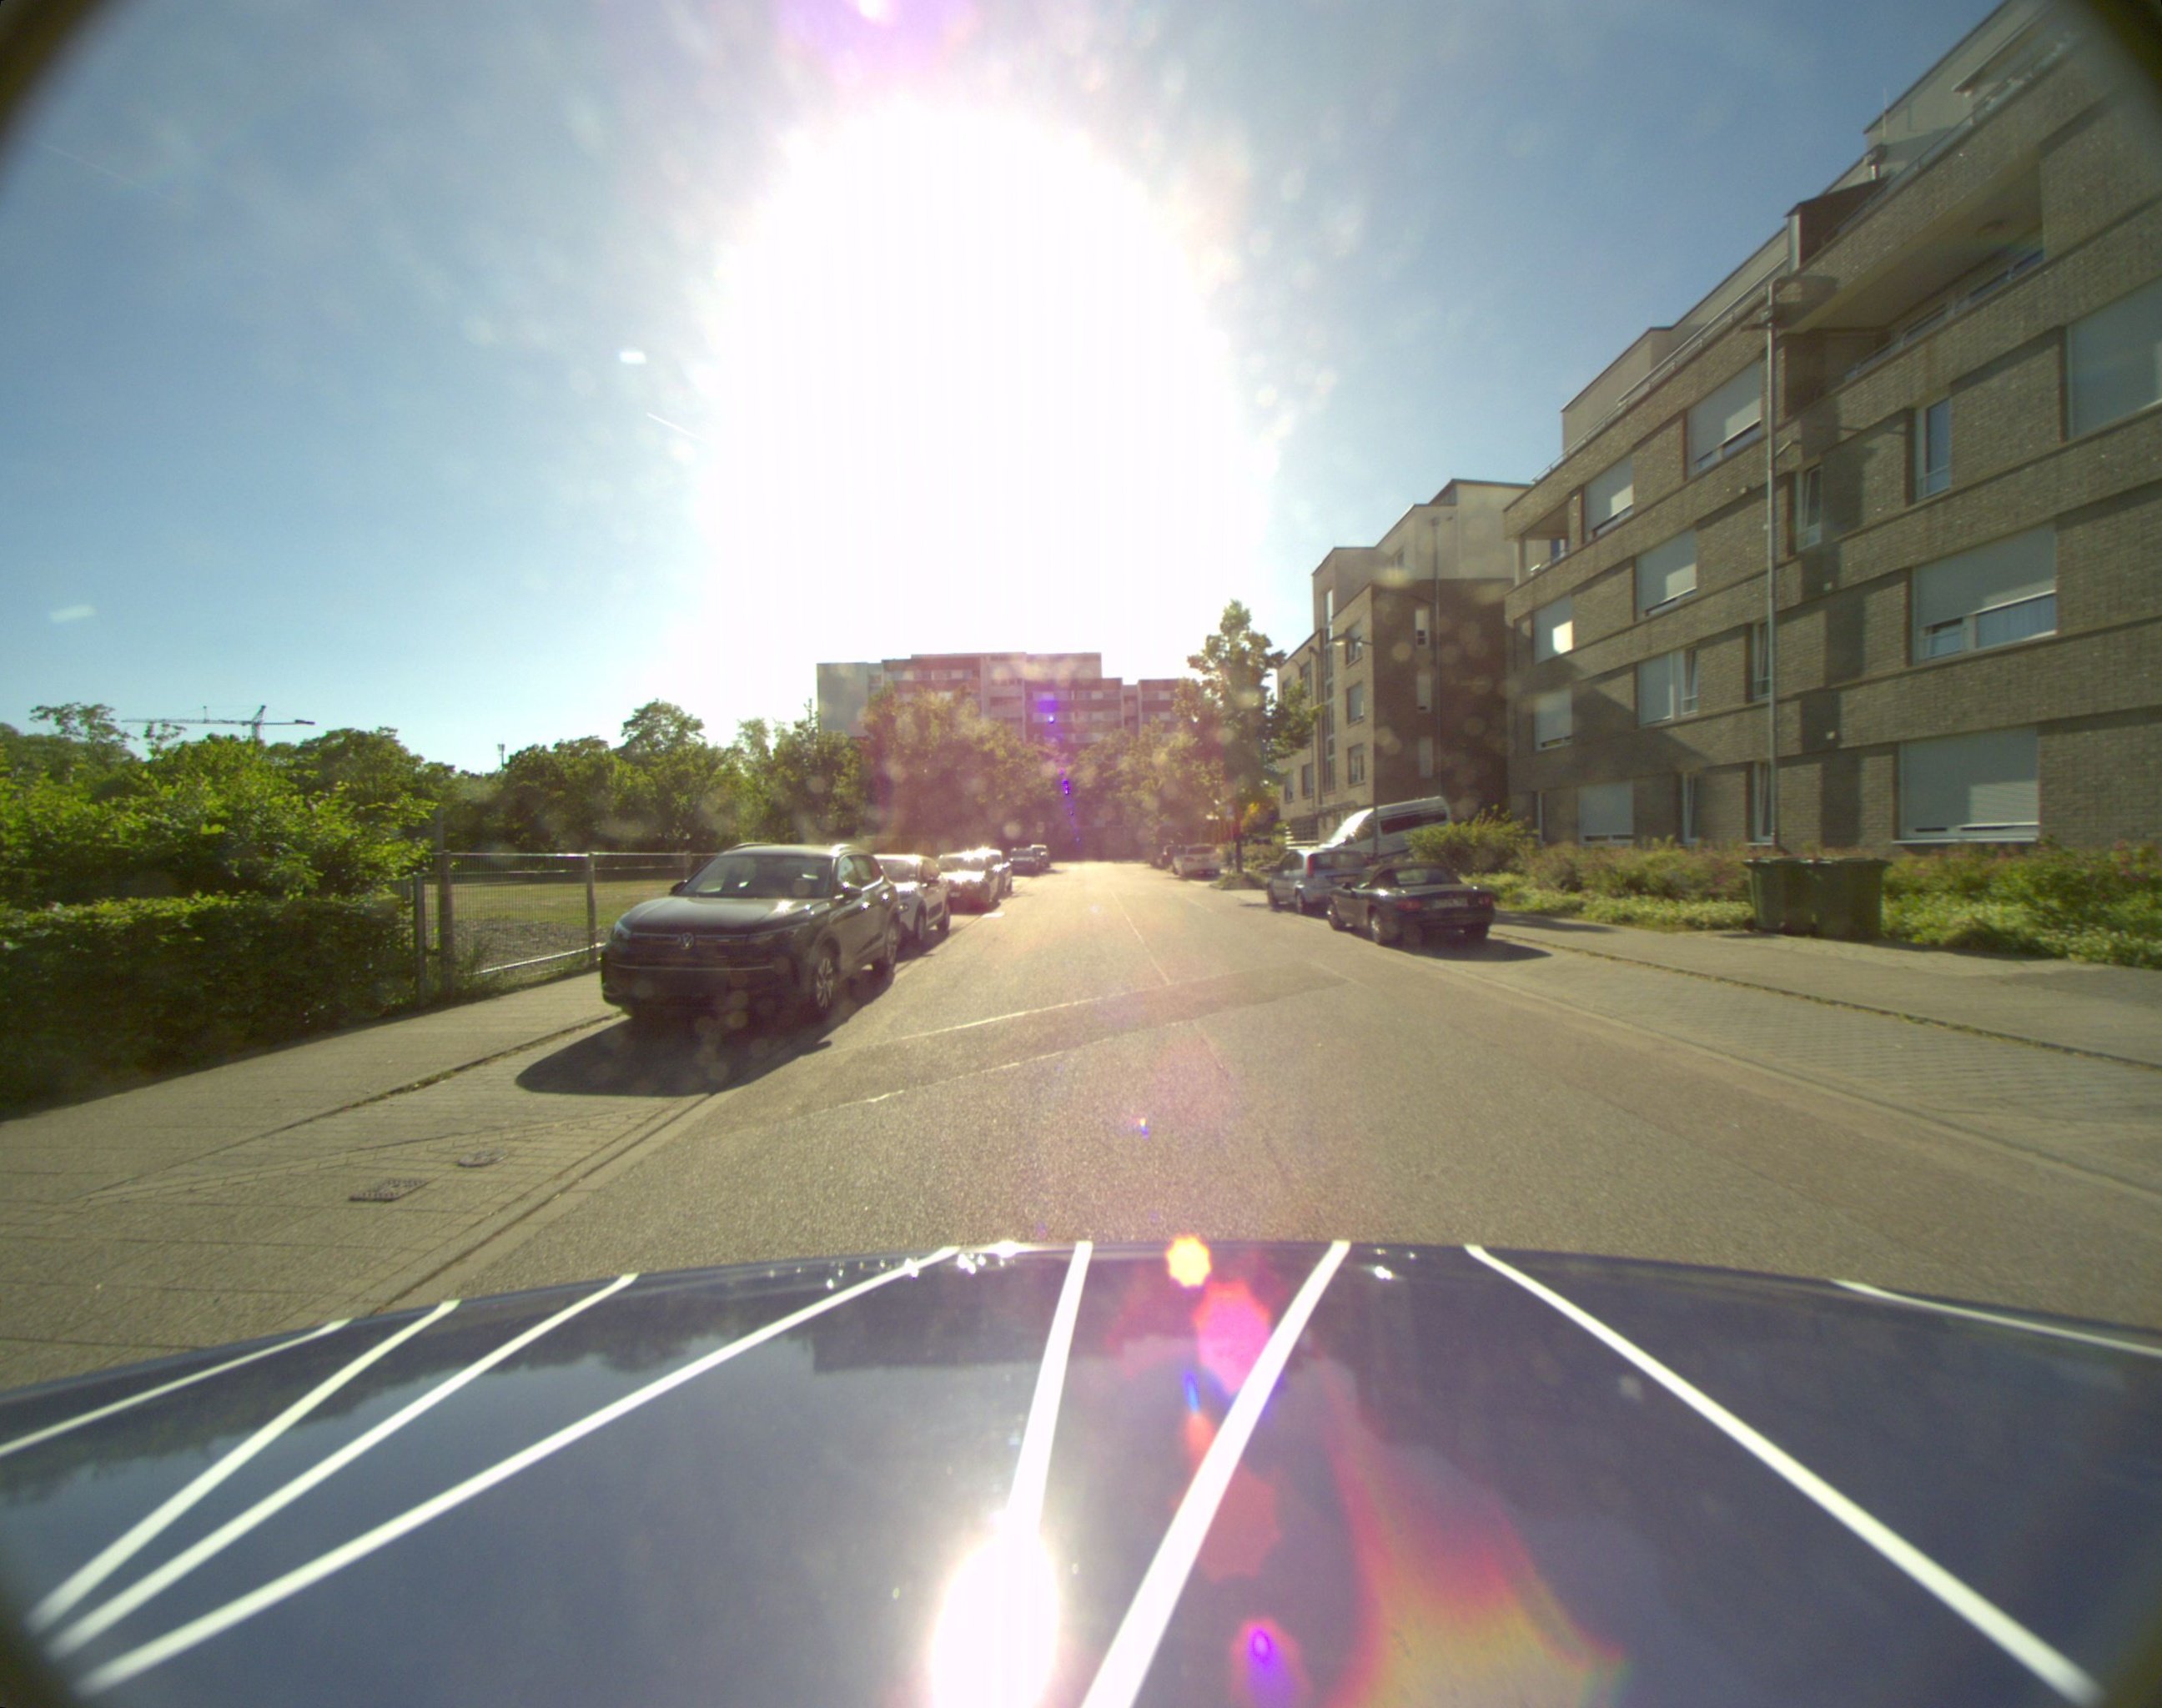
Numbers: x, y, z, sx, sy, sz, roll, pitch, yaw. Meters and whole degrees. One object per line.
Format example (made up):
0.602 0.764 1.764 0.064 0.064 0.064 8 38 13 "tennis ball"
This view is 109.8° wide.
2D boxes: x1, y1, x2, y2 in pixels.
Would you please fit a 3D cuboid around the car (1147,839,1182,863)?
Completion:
5.647 -0.208 51.689 1.795 1.509 3.888 -2 1 -2 "car"

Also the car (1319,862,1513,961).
5.265 0.829 12.449 1.631 1.240 3.562 -2 1 1 "car"

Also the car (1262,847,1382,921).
5.512 0.613 17.795 1.631 1.515 3.562 -1 1 0 "car"

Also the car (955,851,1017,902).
-3.207 0.718 26.285 1.645 1.459 3.702 2 2 0 "car"

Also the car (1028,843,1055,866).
-2.791 -0.008 54.106 1.645 1.459 3.702 2 2 0 "car"

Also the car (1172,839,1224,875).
5.710 0.124 37.612 1.795 1.590 3.888 -2 1 -2 "car"

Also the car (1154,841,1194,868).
5.643 -0.014 46.511 1.795 1.509 3.888 -2 1 -2 "car"

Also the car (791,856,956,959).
-3.464 0.819 13.432 1.823 1.458 3.841 2 1 0 "car"

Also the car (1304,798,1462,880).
11.287 -0.554 28.595 5.153 2.886 2.013 -1 1 -3 "car"

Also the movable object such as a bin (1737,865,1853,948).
9.814 0.700 10.471 0.921 1.032 0.681 -4 1 -2 "movable object such as a bin"

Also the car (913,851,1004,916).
-3.252 0.738 20.876 1.823 1.459 3.841 2 2 0 "car"

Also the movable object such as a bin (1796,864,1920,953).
9.932 0.679 9.735 0.862 1.032 0.677 -4 1 -2 "movable object such as a bin"

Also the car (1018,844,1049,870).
-2.930 0.153 47.591 1.645 1.459 3.702 2 2 0 "car"

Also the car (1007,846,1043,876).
-3.073 0.357 42.032 1.645 1.459 3.702 2 2 0 "car"

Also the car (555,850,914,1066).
-3.256 0.819 8.291 1.823 1.638 4.488 2 1 0 "car"
